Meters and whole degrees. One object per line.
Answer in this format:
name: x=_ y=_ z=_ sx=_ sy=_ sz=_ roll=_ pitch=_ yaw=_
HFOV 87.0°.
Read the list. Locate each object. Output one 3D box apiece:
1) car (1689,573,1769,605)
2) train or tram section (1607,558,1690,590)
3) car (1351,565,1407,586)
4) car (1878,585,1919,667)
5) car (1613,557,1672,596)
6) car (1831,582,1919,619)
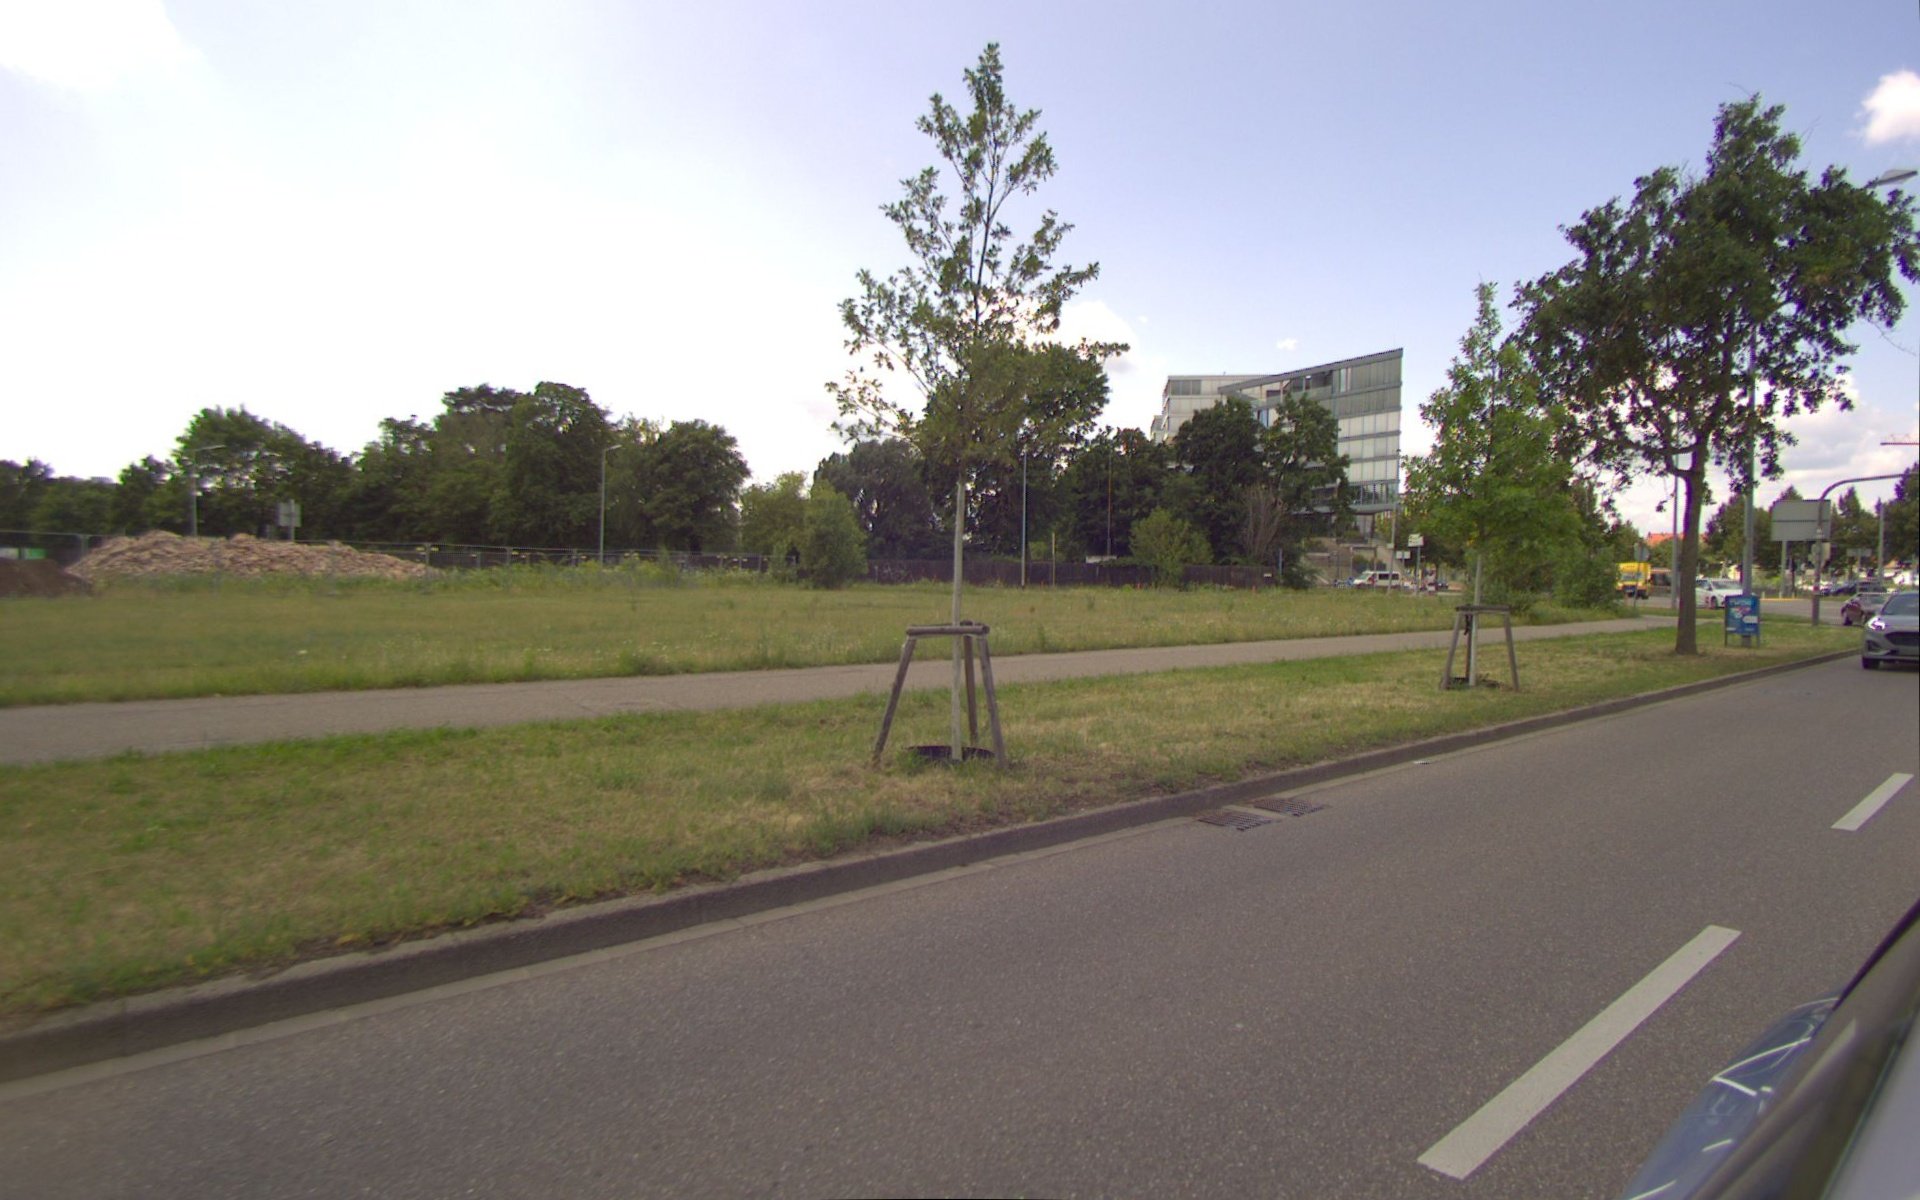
car: x=40.466 y=-0.600 z=53.347 sx=1.648 sy=1.618 sz=4.116 roll=-1 pitch=1 yaw=10
train or tram section: x=86.518 y=-3.247 z=127.621 sx=2.803 sy=3.786 sz=13.450 roll=1 pitch=1 yaw=7
car: x=44.358 y=-2.551 z=107.217 sx=5.044 sy=2.174 sz=2.153 roll=0 pitch=1 yaw=-11
car: x=19.520 y=0.474 z=19.955 sx=4.022 sy=1.489 sz=1.672 roll=-1 pitch=2 yaw=-42
car: x=53.407 y=-1.791 z=79.111 sx=7.134 sy=2.888 sz=2.281 roll=0 pitch=2 yaw=-43
car: x=34.938 y=-0.020 z=38.283 sx=1.654 sy=1.277 sz=4.066 roll=2 pitch=2 yaw=20
